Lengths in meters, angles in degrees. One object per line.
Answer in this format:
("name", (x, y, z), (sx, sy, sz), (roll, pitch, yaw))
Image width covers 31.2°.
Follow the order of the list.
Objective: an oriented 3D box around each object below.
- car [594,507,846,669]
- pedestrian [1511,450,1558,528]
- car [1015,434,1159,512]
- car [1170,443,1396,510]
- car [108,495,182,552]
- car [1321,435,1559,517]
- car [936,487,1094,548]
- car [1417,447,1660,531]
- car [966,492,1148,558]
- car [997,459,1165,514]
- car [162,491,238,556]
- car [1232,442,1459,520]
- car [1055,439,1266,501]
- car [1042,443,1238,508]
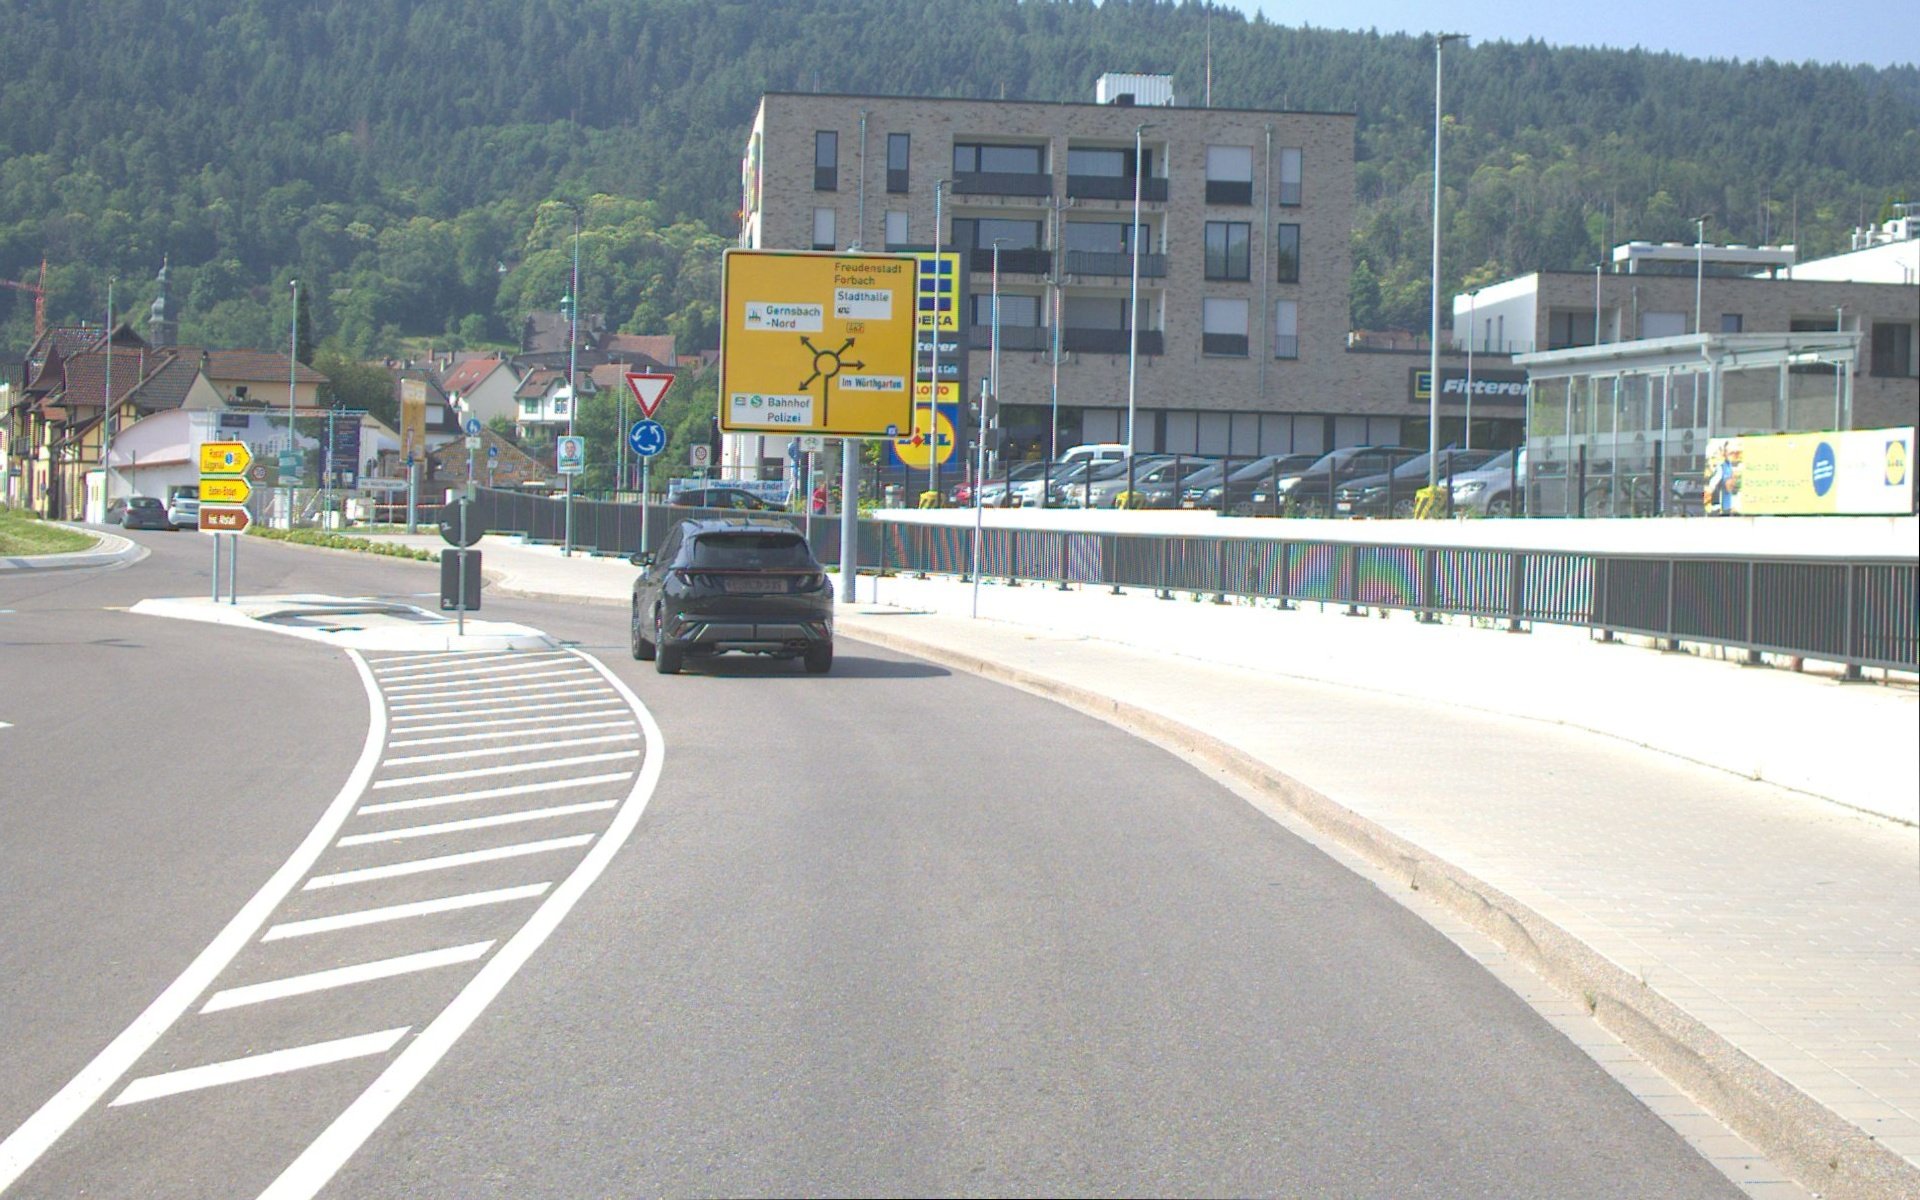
("car", (-2.702, -0.159, 37.878), (1.880, 1.678, 4.001), (0, 1, -17))
("pedestrian", (9.788, -1.892, 58.581), (0.547, 1.307, 0.657), (1, 1, -17))
("car", (3.569, -3.555, 96.673), (3.987, 2.128, 2.000), (1, 1, 2))
("car", (6.570, -2.509, 70.007), (4.212, 1.241, 1.745), (1, 2, -19))
("car", (-29.519, -2.758, 124.397), (1.993, 2.007, 4.001), (0, 1, -22))
("car", (8.819, -2.272, 63.139), (4.060, 1.399, 1.486), (1, 2, -19))
("car", (1.370, -2.081, 86.325), (3.554, 1.425, 1.711), (1, 2, -19))
("car", (10.098, -1.941, 60.028), (3.804, 1.359, 1.681), (1, 2, -19))
("car", (2.361, -1.832, 83.581), (4.055, 1.482, 1.717), (1, 2, -16))
("car", (2.835, -2.675, 80.942), (3.554, 1.195, 1.715), (1, 2, -19))
("car", (-24.170, -2.431, 109.447), (1.993, 2.007, 4.001), (0, 1, -7))
("car", (7.477, -2.307, 66.758), (4.004, 1.399, 1.726), (1, 2, -19))
("car", (4.388, -2.843, 75.399), (4.277, 1.241, 1.665), (1, 2, -19))
("car", (4.051, -2.804, 77.407), (4.035, 1.338, 1.661), (1, 2, -19))
